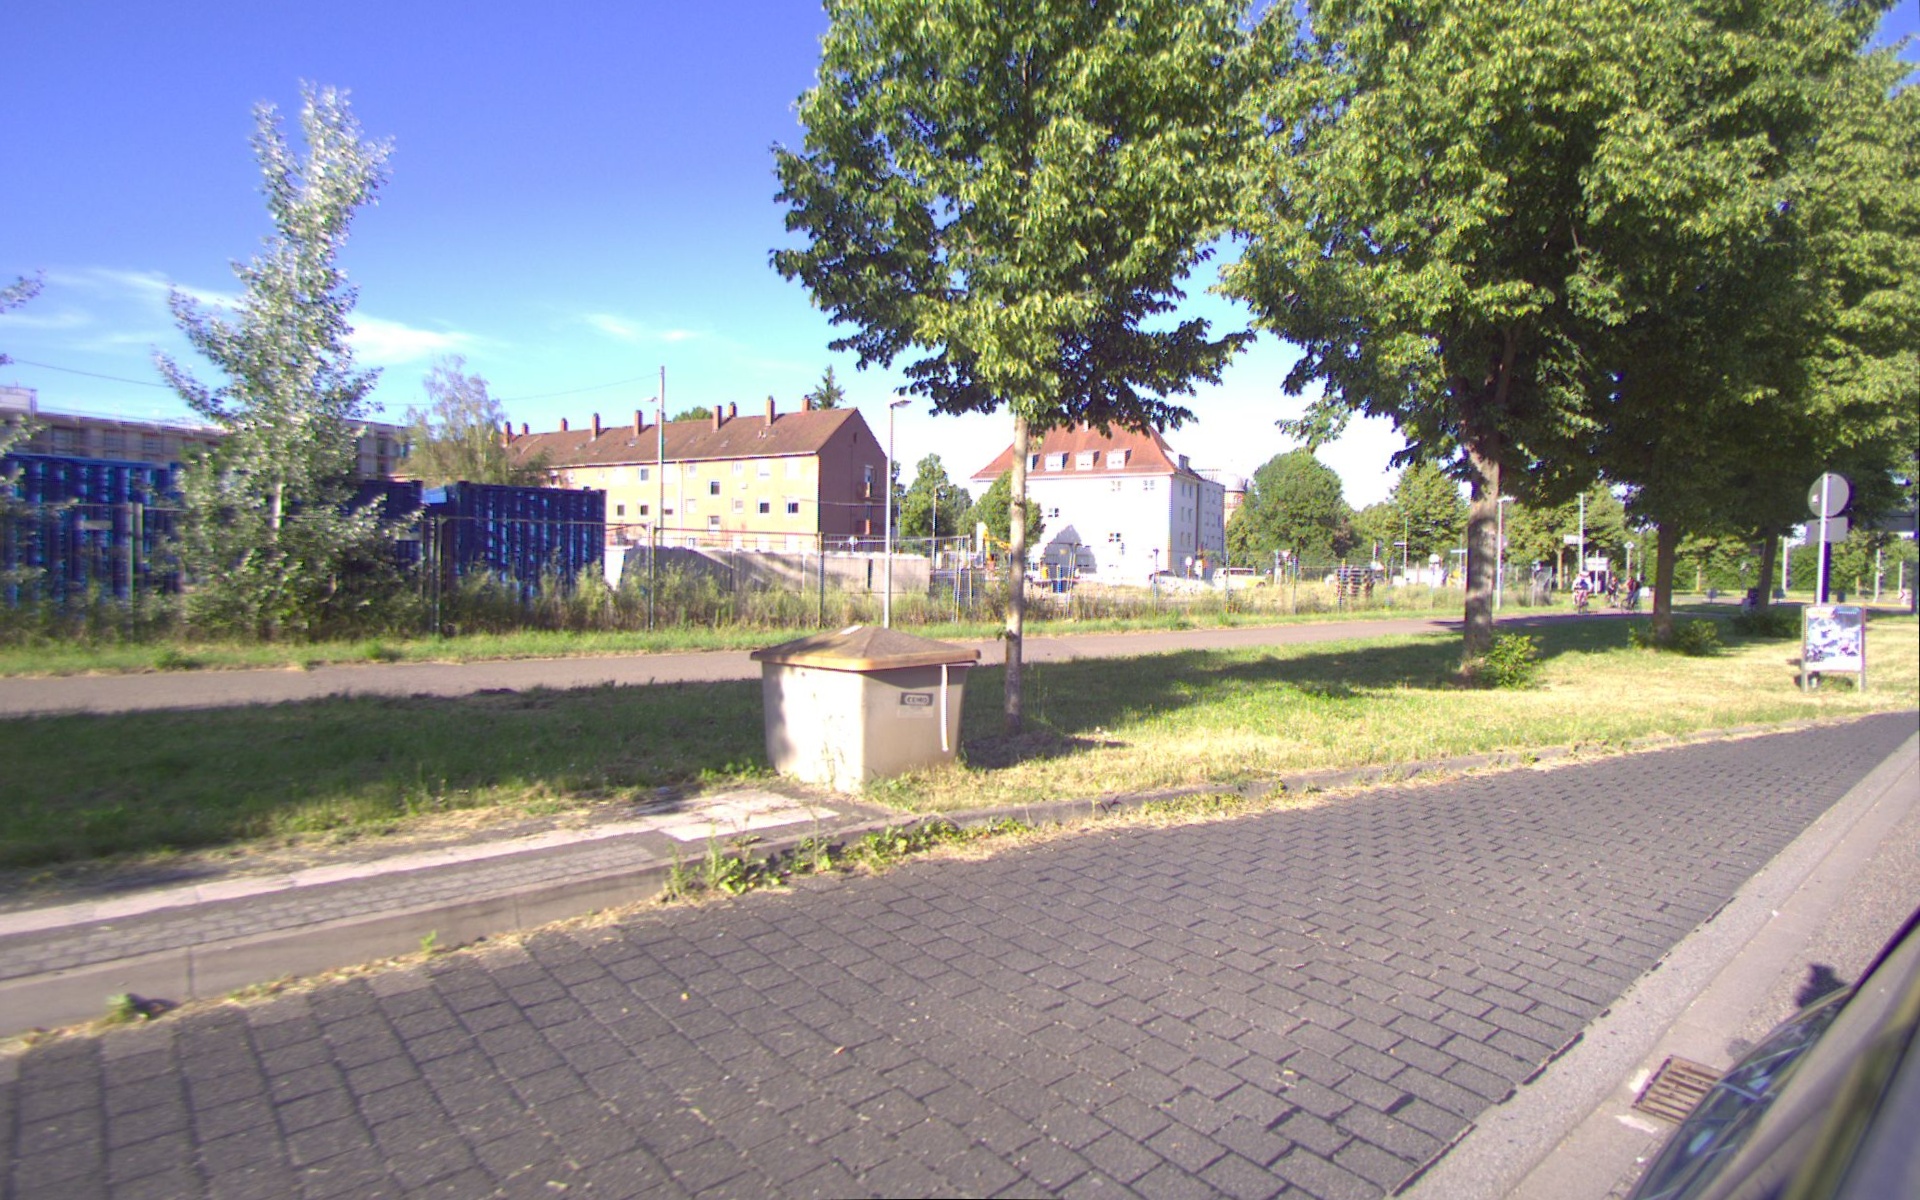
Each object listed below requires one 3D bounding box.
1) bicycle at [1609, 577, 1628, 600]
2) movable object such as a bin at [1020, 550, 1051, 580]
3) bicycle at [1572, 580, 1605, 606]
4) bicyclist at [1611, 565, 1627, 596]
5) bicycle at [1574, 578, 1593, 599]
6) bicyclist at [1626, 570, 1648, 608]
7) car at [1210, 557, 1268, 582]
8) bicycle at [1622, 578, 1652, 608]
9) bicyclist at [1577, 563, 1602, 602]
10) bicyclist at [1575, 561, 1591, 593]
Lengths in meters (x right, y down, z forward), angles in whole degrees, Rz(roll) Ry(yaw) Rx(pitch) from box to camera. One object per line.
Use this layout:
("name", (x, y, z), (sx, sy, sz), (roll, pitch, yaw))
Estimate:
("bicycle", (33.100, -0.587, 50.879), (0.473, 1.095, 1.634), (0, 3, 20))
("movable object such as a bin", (5.279, -2.481, 70.601), (2.033, 2.038, 1.997), (0, 2, 8))
("bicycle", (25.769, -0.308, 41.485), (1.788, 1.024, 0.656), (-1, 2, -41))
("bicyclist", (33.096, -0.973, 50.864), (0.466, 1.504, 0.910), (0, 2, 20))
("bicycle", (31.394, -0.585, 50.998), (0.587, 0.972, 1.885), (0, 3, 25))
("bicyclist", (27.260, -0.439, 40.746), (0.819, 1.491, 0.504), (-1, 2, -38))
("car", (23.214, -2.562, 84.359), (4.395, 2.038, 1.997), (0, 2, 7))
("bicycle", (27.250, -0.302, 40.747), (1.575, 1.166, 0.507), (-1, 2, -38))
("bicyclist", (25.806, -0.711, 41.476), (0.781, 1.572, 0.654), (-1, 2, -41))
("bicyclist", (31.422, -1.170, 51.030), (0.587, 1.606, 0.958), (0, 2, 25))
